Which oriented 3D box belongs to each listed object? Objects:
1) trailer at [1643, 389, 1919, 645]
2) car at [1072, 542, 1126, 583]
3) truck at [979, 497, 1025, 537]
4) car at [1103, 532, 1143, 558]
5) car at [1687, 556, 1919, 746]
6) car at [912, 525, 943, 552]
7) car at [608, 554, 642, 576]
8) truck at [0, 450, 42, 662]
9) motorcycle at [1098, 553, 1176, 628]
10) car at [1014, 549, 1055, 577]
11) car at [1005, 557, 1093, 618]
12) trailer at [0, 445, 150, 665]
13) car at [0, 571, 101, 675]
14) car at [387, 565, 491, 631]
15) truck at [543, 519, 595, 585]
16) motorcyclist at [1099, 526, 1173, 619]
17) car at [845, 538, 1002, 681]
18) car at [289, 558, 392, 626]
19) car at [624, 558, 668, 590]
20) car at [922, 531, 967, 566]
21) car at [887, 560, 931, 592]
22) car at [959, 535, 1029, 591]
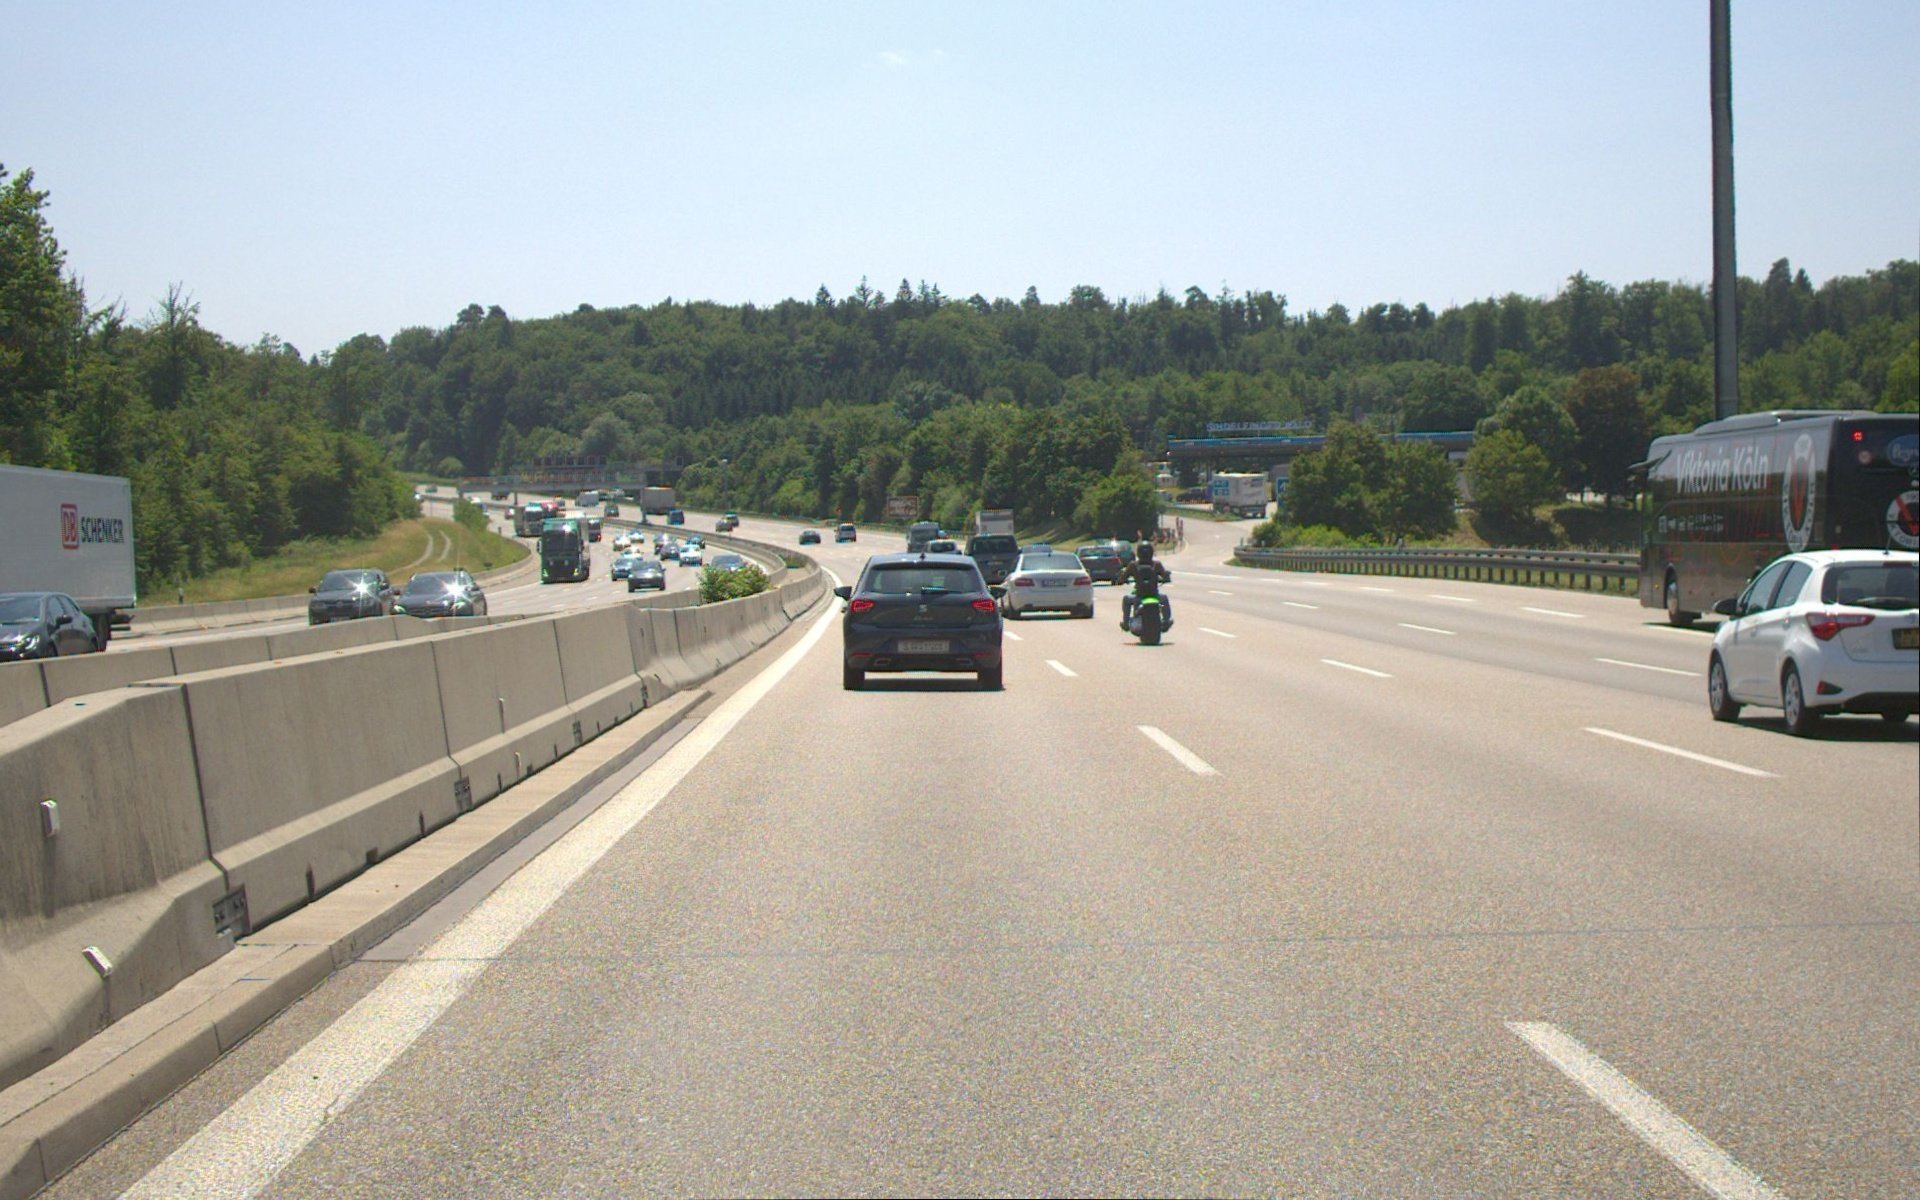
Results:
[{"bbox_3d":[14.086,-1.304,56.648,2.857,3.675,13.543,-2,1,0],"label":"trailer"},{"bbox_3d":[4.885,-1.338,121.297,1.675,1.427,3.685,-1,1,-1],"label":"car"},{"bbox_3d":[3.026,-5.996,247.268,2.726,2.776,5.684,0,2,-5],"label":"truck"},{"bbox_3d":[7.696,-2.595,162.550,1.608,1.208,3.460,-2,1,-2],"label":"car"},{"bbox_3d":[7.434,0.380,28.694,1.666,1.428,4.376,2,1,-1],"label":"car"},{"bbox_3d":[-2.444,-4.628,257.941,1.993,2.006,4.675,0,2,-5],"label":"car"},{"bbox_3d":[-20.985,-2.208,215.479,1.831,1.297,4.730,-1,1,-2],"label":"car"},{"bbox_3d":[-19.797,-0.771,64.926,2.715,4.085,7.877,-3,1,-1],"label":"truck"},{"bbox_3d":[2.828,-0.169,55.163,0.977,1.125,2.271,-2,1,-3],"label":"motorcycle"},{"bbox_3d":[3.350,-1.692,155.381,1.608,1.208,3.460,-2,1,-2],"label":"car"},{"bbox_3d":[1.936,-0.292,75.752,1.782,1.261,3.460,-1,1,-1],"label":"car"},{"bbox_3d":[-19.811,-0.900,71.298,2.642,4.210,14.363,-3,1,-1],"label":"trailer"},{"bbox_3d":[-14.782,0.353,53.382,1.798,1.476,4.398,-3,1,-1],"label":"car"},{"bbox_3d":[-12.323,-0.069,81.520,1.798,1.476,4.721,1,1,-1],"label":"car"},{"bbox_3d":[-24.760,-3.033,217.913,2.657,4.012,5.511,-3,1,-2],"label":"truck"},{"bbox_3d":[2.816,-0.444,55.141,0.962,1.432,1.235,-2,2,-5],"label":"motorcyclist"},{"bbox_3d":[-0.392,0.142,37.396,1.624,1.482,3.685,0,-1,0],"label":"car"},{"bbox_3d":[-16.429,-0.240,91.350,1.798,1.637,5.079,-4,1,-1],"label":"car"},{"bbox_3d":[-15.120,-1.260,165.703,1.767,1.473,4.481,-2,1,-1],"label":"car"},{"bbox_3d":[-0.807,-2.673,177.508,1.993,1.678,4.425,0,2,-5],"label":"car"},{"bbox_3d":[-2.035,-0.947,136.583,1.536,1.208,3.460,-2,1,-4],"label":"car"},{"bbox_3d":[1.158,-1.277,118.235,2.097,1.845,4.081,-1,1,-3],"label":"car"}]
